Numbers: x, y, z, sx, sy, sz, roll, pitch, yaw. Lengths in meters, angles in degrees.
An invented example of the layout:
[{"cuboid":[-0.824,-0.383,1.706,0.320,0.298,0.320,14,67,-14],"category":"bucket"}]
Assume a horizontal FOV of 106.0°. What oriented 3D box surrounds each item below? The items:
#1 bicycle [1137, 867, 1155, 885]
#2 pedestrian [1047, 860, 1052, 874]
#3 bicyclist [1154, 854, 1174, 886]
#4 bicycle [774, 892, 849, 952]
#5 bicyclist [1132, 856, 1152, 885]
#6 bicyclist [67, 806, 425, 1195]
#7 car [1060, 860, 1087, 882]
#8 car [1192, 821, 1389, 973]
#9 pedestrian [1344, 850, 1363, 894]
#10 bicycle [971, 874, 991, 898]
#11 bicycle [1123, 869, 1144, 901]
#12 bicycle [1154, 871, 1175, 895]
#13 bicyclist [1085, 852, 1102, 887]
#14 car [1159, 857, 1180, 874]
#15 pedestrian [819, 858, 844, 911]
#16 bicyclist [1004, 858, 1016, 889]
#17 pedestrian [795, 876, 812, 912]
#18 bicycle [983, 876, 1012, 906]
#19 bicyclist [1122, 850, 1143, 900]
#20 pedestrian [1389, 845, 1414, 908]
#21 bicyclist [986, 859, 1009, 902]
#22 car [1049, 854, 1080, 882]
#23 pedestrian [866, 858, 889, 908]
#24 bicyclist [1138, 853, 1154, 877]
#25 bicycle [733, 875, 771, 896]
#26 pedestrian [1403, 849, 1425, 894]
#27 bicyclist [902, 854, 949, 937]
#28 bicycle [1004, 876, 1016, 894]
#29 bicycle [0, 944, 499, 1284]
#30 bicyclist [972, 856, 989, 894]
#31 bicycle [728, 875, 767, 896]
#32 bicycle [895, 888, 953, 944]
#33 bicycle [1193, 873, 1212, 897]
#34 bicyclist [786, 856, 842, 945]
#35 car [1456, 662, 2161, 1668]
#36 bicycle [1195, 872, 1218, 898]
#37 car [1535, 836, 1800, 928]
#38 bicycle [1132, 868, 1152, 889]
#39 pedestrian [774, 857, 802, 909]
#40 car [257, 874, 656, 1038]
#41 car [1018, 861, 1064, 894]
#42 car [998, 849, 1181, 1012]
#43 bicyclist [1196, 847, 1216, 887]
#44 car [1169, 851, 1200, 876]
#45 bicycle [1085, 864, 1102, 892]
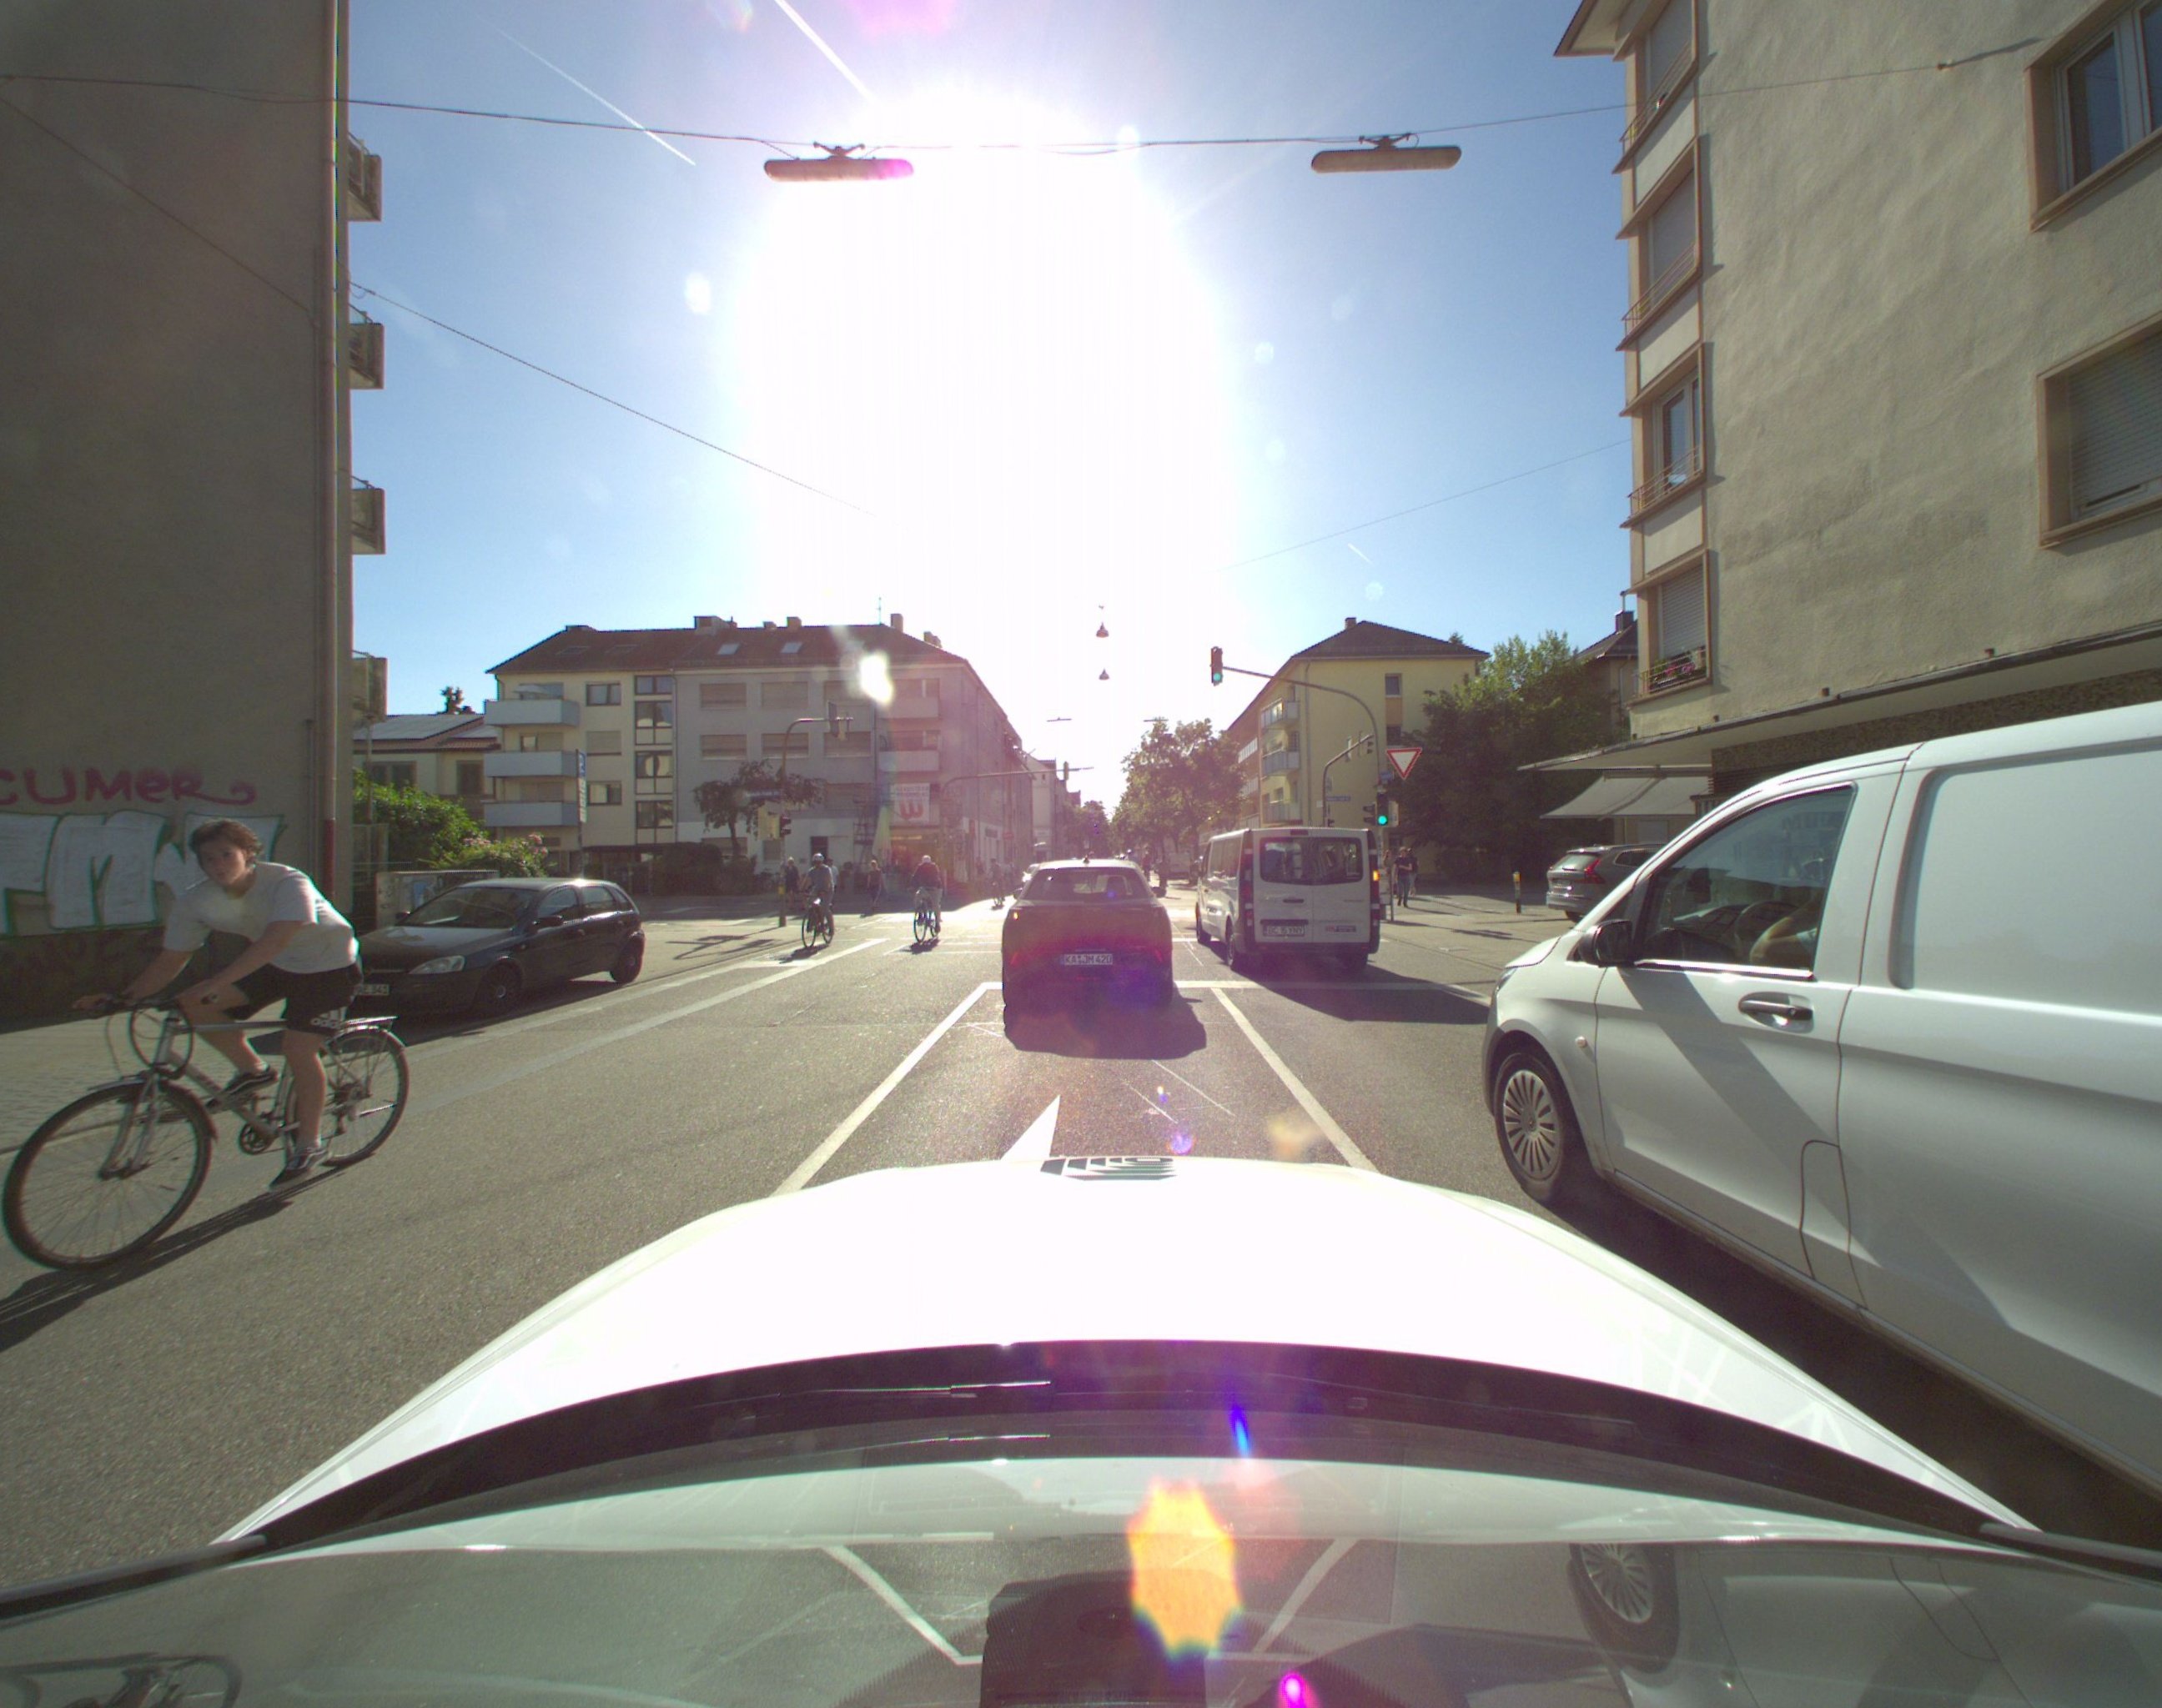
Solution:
[{"cuboid":[3.640,1.228,45.675,0.853,0.945,2.308,1,0,2],"category":"bicycle"},{"cuboid":[-3.468,1.437,89.612,0.576,1.583,0.707,-1,-1,-4],"category":"pedestrian"},{"cuboid":[3.207,0.617,31.532,0.689,1.193,0.595,-1,-1,3],"category":"bicyclist"},{"cuboid":[-5.073,1.248,15.453,0.677,0.952,1.934,-3,0,2],"category":"bicycle"},{"cuboid":[2.885,0.782,38.565,0.853,1.314,1.211,1,0,1],"category":"bicyclist"},{"cuboid":[-3.911,0.623,3.911,0.714,1.620,0.946,-2,-1,1],"category":"bicyclist"},{"cuboid":[-0.526,1.194,57.741,1.799,1.413,4.424,-3,0,-1],"category":"car"},{"cuboid":[3.018,0.573,12.922,1.961,1.940,5.057,0,-1,2],"category":"car"},{"cuboid":[11.026,0.711,32.975,0.524,1.762,0.623,-1,-1,0],"category":"pedestrian"},{"cuboid":[-4.069,1.301,33.219,0.540,0.902,1.827,-1,0,2],"category":"bicycle"},{"cuboid":[1.809,1.059,28.235,0.630,1.041,1.796,-2,0,2],"category":"bicycle"},{"cuboid":[3.216,1.114,31.538,0.688,0.866,1.878,-1,0,3],"category":"bicycle"},{"cuboid":[0.604,0.723,38.922,0.798,1.649,1.125,-1,-1,1],"category":"bicyclist"},{"cuboid":[8.136,1.021,75.088,1.706,1.483,3.383,-1,0,2],"category":"car"},{"cuboid":[-8.101,0.988,26.438,0.571,1.689,0.670,-1,-1,2],"category":"pedestrian"},{"cuboid":[-3.546,0.974,40.674,0.552,1.549,0.813,0,-1,-6],"category":"bicyclist"},{"cuboid":[-9.105,1.309,26.711,0.385,1.146,0.531,-1,-1,-4],"category":"pedestrian"},{"cuboid":[-2.769,1.204,27.086,0.539,0.902,1.830,-1,0,8],"category":"bicycle"},{"cuboid":[1.781,0.717,28.204,0.630,1.669,1.051,-2,-1,1],"category":"bicyclist"},{"cuboid":[9.509,0.658,24.177,0.599,1.822,0.631,-1,-1,15],"category":"pedestrian"},{"cuboid":[-2.774,0.861,27.097,0.540,1.391,0.790,-1,-1,7],"category":"bicyclist"},{"cuboid":[-0.975,0.816,49.015,1.586,1.566,4.091,-2,-1,2],"category":"car"},{"cuboid":[-6.506,0.925,26.036,0.528,1.581,0.564,-1,-1,8],"category":"pedestrian"},{"cuboid":[3.649,0.622,45.718,0.853,1.314,1.211,1,0,1],"category":"bicyclist"},{"cuboid":[-15.481,1.482,38.321,1.582,0.940,0.513,-1,0,3],"category":"bicycle"},{"cuboid":[11.907,0.613,29.162,0.537,1.571,0.539,-1,-1,1],"category":"pedestrian"},{"cuboid":[-3.100,0.802,16.270,0.677,1.576,0.899,-3,-1,2],"category":"bicyclist"},{"cuboid":[-3.545,1.552,40.616,0.552,0.833,2.127,0,0,-6],"category":"bicycle"},{"cuboid":[-3.891,1.071,3.961,0.714,1.064,1.873,-2,-1,2],"category":"bicycle"},{"cuboid":[-4.079,0.834,33.206,0.540,1.520,0.774,-1,-1,2],"category":"bicyclist"},{"cuboid":[-15.419,1.450,37.689,1.582,0.940,0.513,-1,0,3],"category":"bicycle"},{"cuboid":[-3.080,1.196,16.168,0.677,0.952,1.934,-3,0,2],"category":"bicycle"},{"cuboid":[4.828,1.232,32.455,0.544,0.866,1.878,-1,0,3],"category":"bicycle"},{"cuboid":[-5.091,0.865,15.581,0.677,1.630,0.899,-3,-1,2],"category":"bicyclist"},{"cuboid":[2.920,0.550,1.812,1.961,1.810,4.832,-1,-1,1],"category":"car"},{"cuboid":[4.473,1.098,29.113,0.617,0.866,1.878,-1,0,3],"category":"bicycle"},{"cuboid":[11.617,0.537,16.345,3.972,1.662,1.826,-1,0,2],"category":"car"},{"cuboid":[2.878,1.153,38.525,0.853,0.945,2.308,1,0,2],"category":"bicycle"},{"cuboid":[-9.724,0.943,27.074,0.571,1.683,0.968,-1,-1,-1],"category":"pedestrian"},{"cuboid":[-6.935,1.014,9.656,1.685,1.448,3.856,1,0,0],"category":"car"},{"cuboid":[-1.868,1.098,39.447,1.830,1.433,4.178,-1,0,2],"category":"car"},{"cuboid":[0.139,0.769,9.953,1.756,1.558,4.001,-1,-1,2],"category":"car"},{"cuboid":[4.444,0.444,28.923,0.586,1.382,0.823,-1,0,3],"category":"bicyclist"},{"cuboid":[7.819,0.703,61.854,2.037,1.846,4.589,-1,0,4],"category":"car"},{"cuboid":[0.605,1.130,38.842,0.798,1.255,2.139,-1,0,1],"category":"bicycle"}]
